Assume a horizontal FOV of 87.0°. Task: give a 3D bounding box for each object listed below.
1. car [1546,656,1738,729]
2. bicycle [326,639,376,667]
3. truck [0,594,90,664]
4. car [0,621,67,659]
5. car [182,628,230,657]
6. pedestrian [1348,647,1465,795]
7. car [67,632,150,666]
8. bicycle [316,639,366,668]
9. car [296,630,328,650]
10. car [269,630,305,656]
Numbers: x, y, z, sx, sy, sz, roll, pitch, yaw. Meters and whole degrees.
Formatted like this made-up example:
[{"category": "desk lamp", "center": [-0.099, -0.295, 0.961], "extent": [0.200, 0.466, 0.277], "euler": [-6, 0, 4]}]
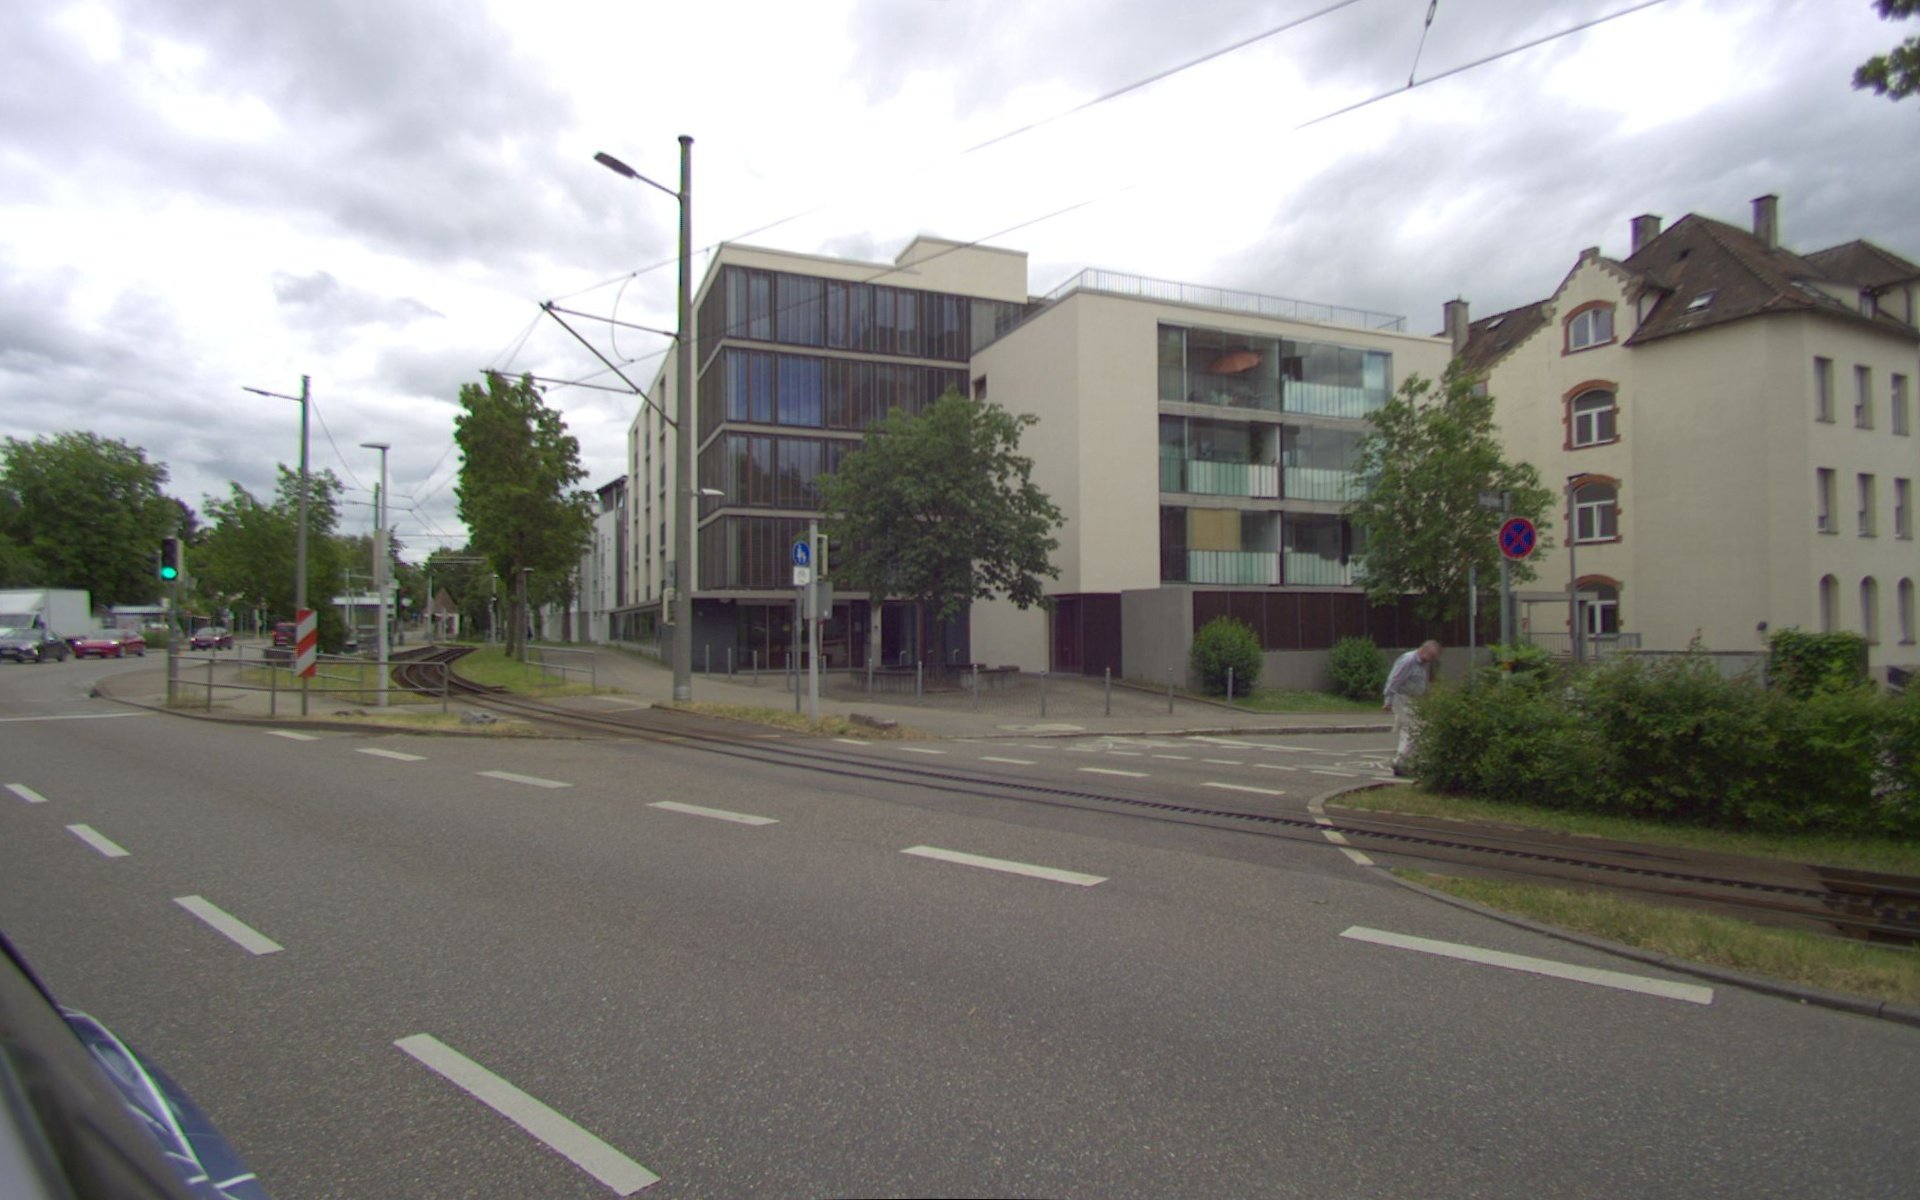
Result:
[{"category": "car", "center": [14.281, 1.900, 21.164], "extent": [3.931, 1.369, 1.647], "euler": [3, -3, -27]}, {"category": "bicycle", "center": [-25.362, 2.209, 42.187], "extent": [1.724, 1.054, 0.409], "euler": [-1, -1, -21]}, {"category": "truck", "center": [-49.019, 1.492, 53.311], "extent": [2.499, 3.452, 7.801], "euler": [0, -1, -22]}, {"category": "car", "center": [-39.689, 1.664, 42.863], "extent": [1.819, 1.546, 4.013], "euler": [1, -2, -27]}, {"category": "car", "center": [-50.159, 2.788, 67.426], "extent": [1.819, 1.875, 4.271], "euler": [1, -2, -27]}, {"category": "pedestrian", "center": [4.991, 1.307, 11.327], "extent": [0.995, 1.538, 0.839], "euler": [-1, -3, 41]}, {"category": "car", "center": [-41.636, 2.402, 49.579], "extent": [1.819, 1.546, 4.012], "euler": [2, -3, -20]}, {"category": "bicycle", "center": [-24.807, 2.137, 40.587], "extent": [1.682, 1.097, 0.409], "euler": [-1, -1, -36]}, {"category": "car", "center": [-50.921, 3.172, 79.601], "extent": [1.743, 1.490, 4.012], "euler": [3, -3, -28]}, {"category": "car", "center": [-48.952, 3.124, 73.637], "extent": [1.657, 1.822, 4.365], "euler": [3, -3, -28]}]
